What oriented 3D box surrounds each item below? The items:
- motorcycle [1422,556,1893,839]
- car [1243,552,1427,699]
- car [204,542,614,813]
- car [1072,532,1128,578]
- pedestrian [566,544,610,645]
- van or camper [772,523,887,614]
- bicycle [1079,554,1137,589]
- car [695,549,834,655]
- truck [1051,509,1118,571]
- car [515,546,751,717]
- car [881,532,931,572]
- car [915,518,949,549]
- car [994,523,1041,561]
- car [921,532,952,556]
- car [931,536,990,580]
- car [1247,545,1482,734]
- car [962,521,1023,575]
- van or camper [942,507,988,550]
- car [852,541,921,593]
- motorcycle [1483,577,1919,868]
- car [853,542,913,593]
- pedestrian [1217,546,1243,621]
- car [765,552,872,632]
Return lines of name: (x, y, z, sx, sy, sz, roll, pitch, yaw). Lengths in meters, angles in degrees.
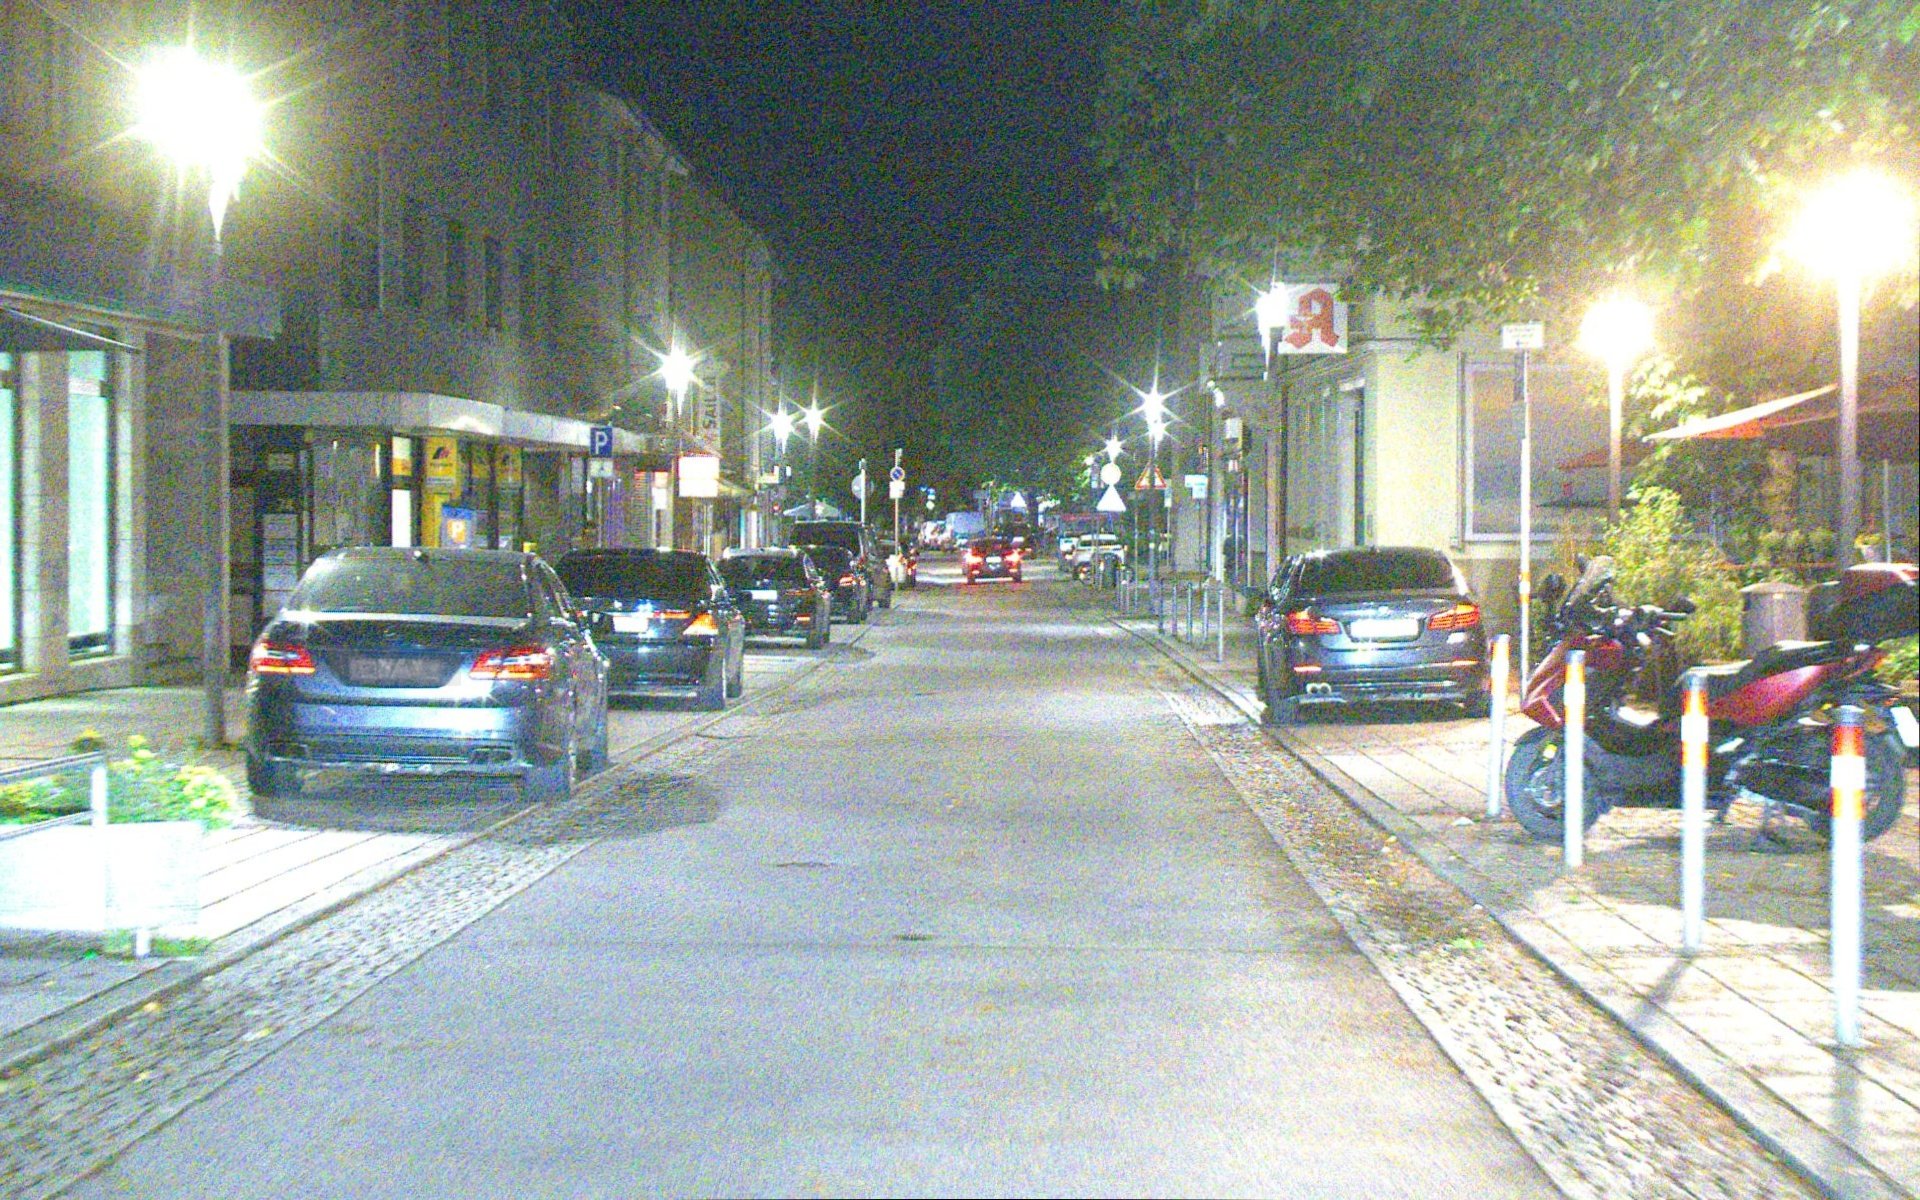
motorcycle: (3.571, 0.483, 17.672, 2.267, 1.386, 0.660, 0, 1, 26)
car: (3.796, 0.221, 35.340, 1.661, 1.373, 4.103, -2, 1, 4)
car: (-3.225, 0.390, 20.970, 1.899, 1.465, 4.525, 0, 1, -2)
car: (4.758, -1.535, 117.021, 1.789, 1.486, 4.059, -1, 1, 1)
pedestrian: (-6.450, -0.106, 59.641, 0.621, 1.739, 1.023, 1, 1, 1)
van or camper: (-2.891, -0.728, 77.219, 1.846, 1.935, 5.152, 1, 1, 6)
bicycle: (4.538, -0.879, 105.478, 1.754, 1.058, 0.346, 0, 1, -2)
car: (-2.830, 0.001, 50.554, 1.797, 1.473, 4.321, 1, 1, 0)
truck: (4.764, -2.311, 132.407, 2.336, 2.304, 5.781, -1, 1, 0)
car: (-3.028, 0.245, 32.672, 1.845, 1.459, 4.623, 1, 1, -1)
car: (-2.167, -1.939, 137.179, 1.673, 1.538, 4.231, 1, 1, -5)
car: (-1.743, -4.123, 213.053, 1.839, 1.894, 3.846, 0, 1, -5)
car: (2.803, -2.824, 168.044, 1.814, 1.822, 4.348, -1, 1, -5)
car: (-1.427, -3.358, 206.920, 1.531, 1.413, 3.846, 0, 1, -5)
car: (-0.014, -1.651, 133.481, 1.993, 1.697, 4.001, 0, 1, -4)
car: (3.429, 0.289, 29.815, 1.753, 1.459, 4.466, -2, 1, 4)
car: (1.071, -1.772, 116.537, 1.993, 1.817, 4.000, 0, 1, 0)
van or camper: (0.271, -4.044, 194.243, 2.108, 2.309, 4.263, -2, 1, -6)
car: (-2.296, -1.062, 109.009, 2.019, 1.483, 5.008, 3, 1, 0)
motorcycle: (3.553, 0.546, 16.198, 2.168, 1.293, 0.514, 0, 1, 39)
car: (-2.311, -0.994, 103.701, 1.728, 1.471, 3.847, 1, 1, 0)
pedestrian: (5.640, -0.348, 71.732, 0.501, 1.542, 0.480, 1, 1, 7)
car: (-2.655, -0.186, 65.231, 1.717, 1.408, 4.385, 1, 1, 1)
